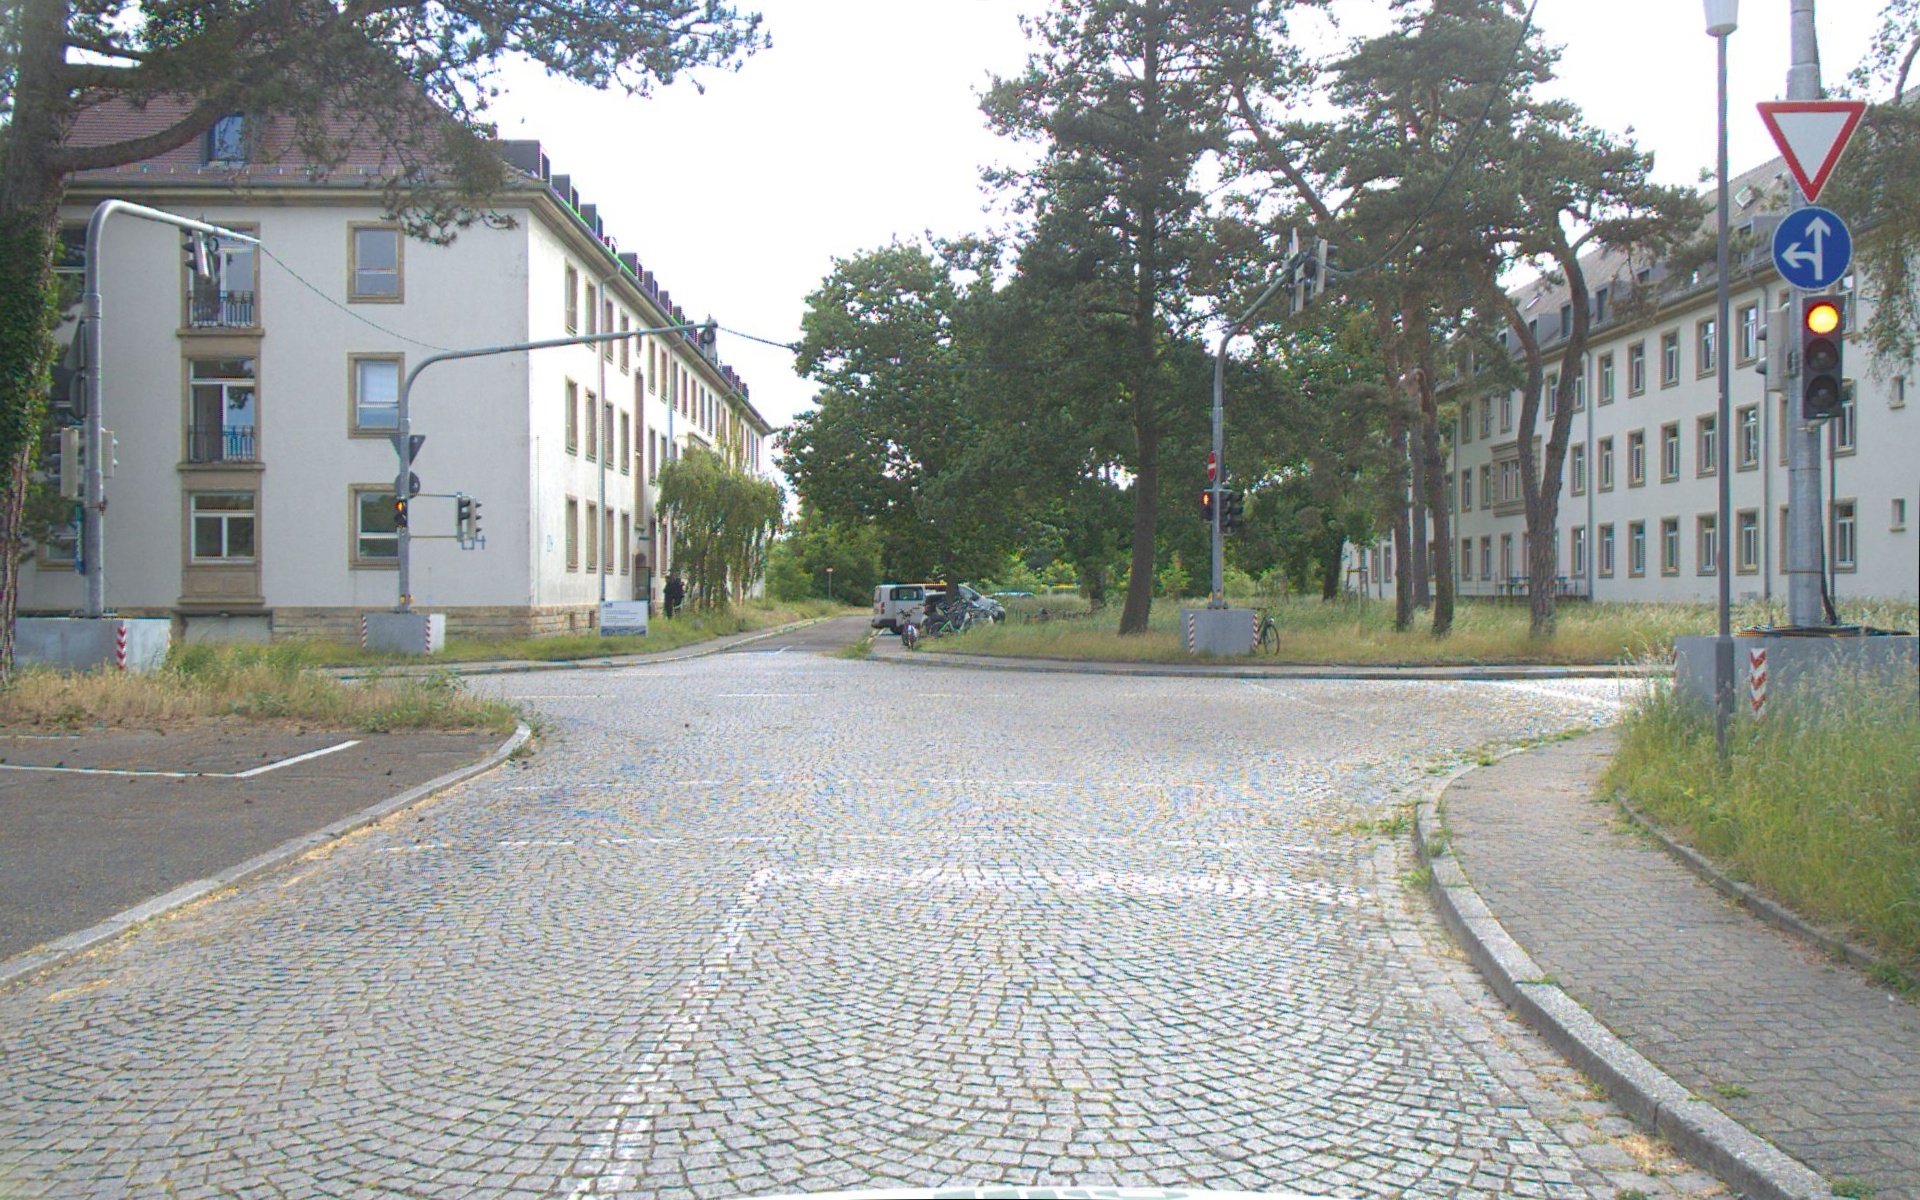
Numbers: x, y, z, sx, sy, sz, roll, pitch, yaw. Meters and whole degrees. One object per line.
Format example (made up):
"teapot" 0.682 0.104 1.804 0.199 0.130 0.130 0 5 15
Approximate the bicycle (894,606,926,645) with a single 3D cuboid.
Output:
"bicycle" -1.359 0.682 45.174 0.712 1.014 1.979 0 0 3

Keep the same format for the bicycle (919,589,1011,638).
"bicycle" 0.132 0.381 47.119 2.566 1.391 0.874 0 0 -2

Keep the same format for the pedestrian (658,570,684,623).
"pedestrian" -10.871 -0.132 62.203 0.850 1.966 0.834 2 0 -13

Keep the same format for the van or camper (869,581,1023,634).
"van or camper" -0.567 0.259 64.614 5.644 1.991 2.229 0 0 -14

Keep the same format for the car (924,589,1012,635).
"car" 0.261 0.440 61.123 3.160 1.649 1.937 1 0 -3

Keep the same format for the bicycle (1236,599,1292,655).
"bicycle" 6.341 0.547 34.598 0.632 1.081 1.832 -4 0 -4

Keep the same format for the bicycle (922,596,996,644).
"bicycle" -0.038 0.554 46.502 2.070 1.329 0.874 0 0 -2

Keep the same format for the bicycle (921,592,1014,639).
"bicycle" 0.214 0.459 49.456 2.746 1.396 0.950 0 0 -2

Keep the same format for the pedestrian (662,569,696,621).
"pedestrian" -10.439 -0.174 61.469 1.173 1.902 1.545 1 0 -12

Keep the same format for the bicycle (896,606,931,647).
"bicycle" -1.229 0.674 43.085 0.882 1.014 1.978 0 0 -2

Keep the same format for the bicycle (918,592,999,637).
"bicycle" -0.046 0.437 52.145 2.516 1.396 0.950 0 0 -3

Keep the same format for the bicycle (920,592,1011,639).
"bicycle" 0.160 0.462 50.348 2.746 1.396 0.950 0 0 -2

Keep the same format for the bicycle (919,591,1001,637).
"bicycle" -0.010 0.434 51.306 2.516 1.396 0.950 0 0 -3

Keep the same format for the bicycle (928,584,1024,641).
"bicycle" 0.447 0.361 47.998 2.746 1.611 0.950 0 0 -2

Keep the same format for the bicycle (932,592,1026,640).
"bicycle" 0.548 0.463 48.932 2.746 1.396 0.950 0 0 -2

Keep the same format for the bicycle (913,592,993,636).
"bicycle" -0.230 0.438 52.978 2.516 1.396 0.950 0 0 -3
